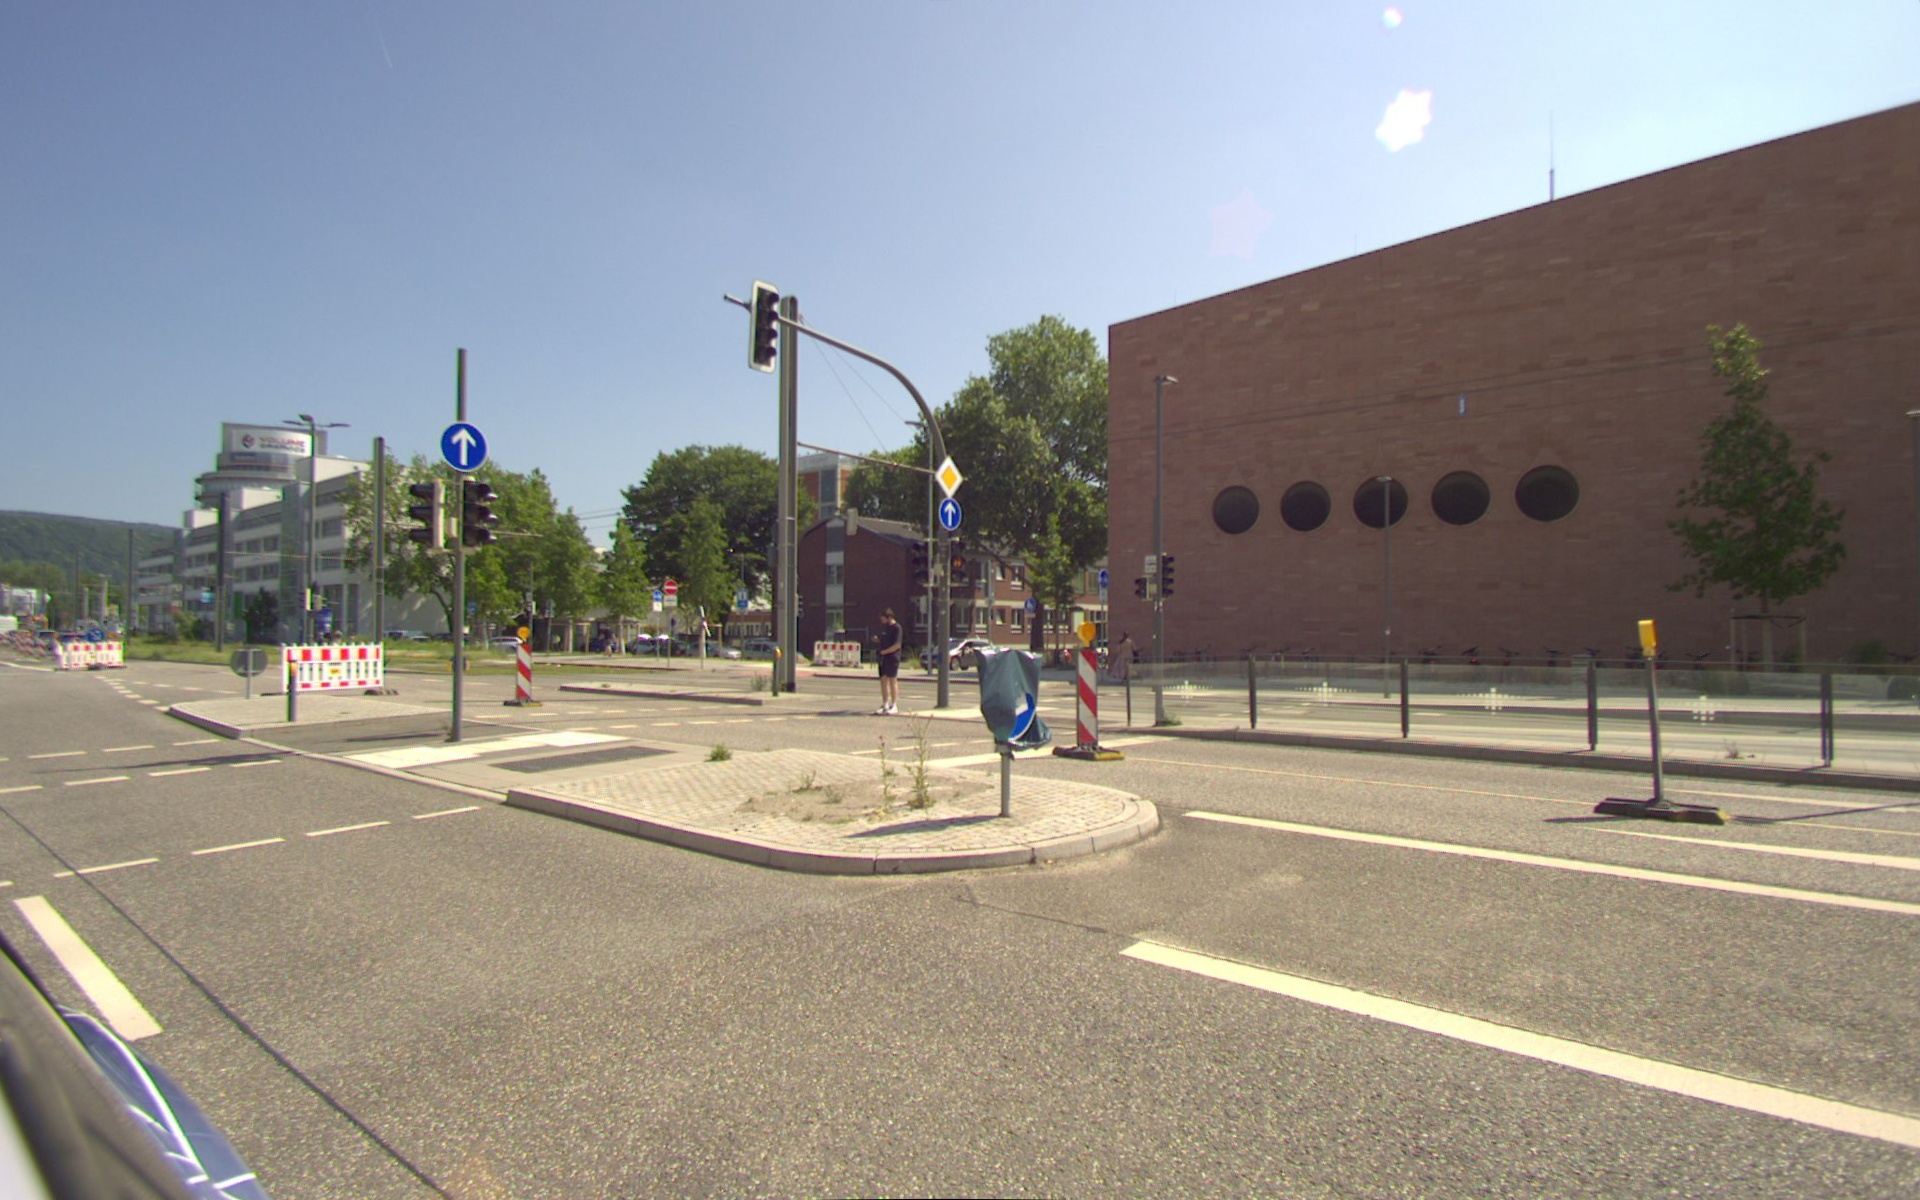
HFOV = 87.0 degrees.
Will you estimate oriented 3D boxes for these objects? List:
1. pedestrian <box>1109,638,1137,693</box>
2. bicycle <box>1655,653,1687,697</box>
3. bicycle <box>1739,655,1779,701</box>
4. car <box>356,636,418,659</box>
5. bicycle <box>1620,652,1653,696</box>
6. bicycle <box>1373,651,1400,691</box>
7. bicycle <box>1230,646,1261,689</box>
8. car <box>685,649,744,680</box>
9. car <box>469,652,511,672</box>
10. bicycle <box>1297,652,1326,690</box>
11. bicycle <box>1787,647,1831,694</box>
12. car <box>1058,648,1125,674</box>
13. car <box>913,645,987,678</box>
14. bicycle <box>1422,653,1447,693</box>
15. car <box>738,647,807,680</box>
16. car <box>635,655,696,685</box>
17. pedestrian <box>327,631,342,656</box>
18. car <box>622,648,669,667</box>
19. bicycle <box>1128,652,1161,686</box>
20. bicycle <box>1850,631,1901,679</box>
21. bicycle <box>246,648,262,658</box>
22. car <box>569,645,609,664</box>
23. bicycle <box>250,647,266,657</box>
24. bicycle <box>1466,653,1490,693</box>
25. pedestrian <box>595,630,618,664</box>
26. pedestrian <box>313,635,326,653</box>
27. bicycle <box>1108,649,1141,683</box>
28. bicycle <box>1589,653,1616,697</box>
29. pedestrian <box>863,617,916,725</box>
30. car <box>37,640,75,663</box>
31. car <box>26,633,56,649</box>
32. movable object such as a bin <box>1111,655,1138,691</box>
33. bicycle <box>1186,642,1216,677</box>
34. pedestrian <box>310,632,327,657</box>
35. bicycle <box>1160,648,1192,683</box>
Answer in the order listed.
[{"bbox_3d":[4.804,1.921,29.779,0.785,1.574,0.929,-1,-3,11],"label":"pedestrian"},{"bbox_3d":[20.525,2.145,29.250,0.537,1.221,2.036,-2,-3,30],"label":"bicycle"},{"bbox_3d":[22.155,2.141,28.102,0.537,1.221,2.036,-2,-3,30],"label":"bicycle"},{"bbox_3d":[-56.546,4.719,99.985,4.988,2.196,2.121,1,-3,-22],"label":"car"},{"bbox_3d":[19.839,2.145,29.689,0.745,1.221,1.868,-2,-3,34],"label":"bicycle"},{"bbox_3d":[14.017,2.312,33.253,0.537,1.221,2.036,-2,-3,30],"label":"bicycle"},{"bbox_3d":[10.033,2.360,35.545,0.537,1.464,2.036,-2,-3,30],"label":"bicycle"},{"bbox_3d":[-15.436,4.018,63.551,3.938,1.774,1.680,-1,-2,42],"label":"car"},{"bbox_3d":[-40.247,5.252,86.700,3.630,1.603,1.752,-2,-2,36],"label":"car"},{"bbox_3d":[12.032,2.413,34.584,0.537,1.221,2.036,-2,-3,30],"label":"bicycle"},{"bbox_3d":[23.246,1.907,27.740,0.537,1.221,2.036,-2,-3,30],"label":"bicycle"},{"bbox_3d":[7.914,3.621,60.629,3.940,1.414,2.002,2,-2,-44],"label":"car"},{"bbox_3d":[-0.431,2.803,46.497,1.572,1.380,3.443,-3,-3,40],"label":"car"},{"bbox_3d":[15.313,2.344,32.622,0.537,1.221,2.036,-2,-3,30],"label":"bicycle"},{"bbox_3d":[-11.077,3.695,59.682,4.299,1.774,1.680,-1,-2,41],"label":"car"},{"bbox_3d":[-19.532,4.602,67.083,4.529,1.774,1.680,-1,-2,41],"label":"car"},{"bbox_3d":[-52.337,3.643,84.690,0.983,2.029,0.830,-2,-3,44],"label":"pedestrian"},{"bbox_3d":[-24.822,4.500,79.729,4.265,1.468,1.522,-2,-3,41],"label":"car"},{"bbox_3d":[6.855,2.536,37.579,0.537,1.221,2.036,-2,-3,30],"label":"bicycle"},{"bbox_3d":[24.214,1.446,26.791,0.537,1.221,2.036,-2,-3,30],"label":"bicycle"},{"bbox_3d":[-90.212,6.745,129.261,1.627,1.198,0.522,1,-2,-44],"label":"bicycle"},{"bbox_3d":[-33.325,4.876,90.884,3.630,1.603,1.752,-2,-2,36],"label":"car"},{"bbox_3d":[-89.101,6.580,128.406,1.627,1.198,0.438,1,-2,-44],"label":"bicycle"},{"bbox_3d":[16.374,2.289,31.966,0.537,1.221,2.036,-2,-3,30],"label":"bicycle"},{"bbox_3d":[-19.824,2.627,56.776,0.802,1.861,1.108,2,-3,-43],"label":"pedestrian"},{"bbox_3d":[-56.043,3.824,88.596,0.805,1.588,0.827,2,-3,-44],"label":"pedestrian"},{"bbox_3d":[6.175,2.453,37.970,0.537,1.221,2.036,-2,-3,30],"label":"bicycle"},{"bbox_3d":[18.834,2.182,29.700,0.537,1.221,2.036,-2,-3,30],"label":"bicycle"},{"bbox_3d":[-1.243,1.241,17.896,0.645,1.847,0.661,2,-3,-45],"label":"pedestrian"},{"bbox_3d":[-59.435,3.352,66.510,1.609,1.438,4.293,2,-2,-44],"label":"car"},{"bbox_3d":[-87.433,3.923,96.236,4.468,1.454,1.655,-2,-5,43],"label":"car"},{"bbox_3d":[4.977,2.200,30.586,0.785,1.039,0.712,-1,-3,11],"label":"movable object such as a bin"},{"bbox_3d":[8.665,2.136,36.358,0.537,1.221,2.037,-2,-3,28],"label":"bicycle"},{"bbox_3d":[-53.124,3.667,83.819,0.910,2.029,0.972,-2,-2,43],"label":"pedestrian"},{"bbox_3d":[7.845,2.361,36.721,0.537,1.221,2.036,-2,-3,30],"label":"bicycle"}]
